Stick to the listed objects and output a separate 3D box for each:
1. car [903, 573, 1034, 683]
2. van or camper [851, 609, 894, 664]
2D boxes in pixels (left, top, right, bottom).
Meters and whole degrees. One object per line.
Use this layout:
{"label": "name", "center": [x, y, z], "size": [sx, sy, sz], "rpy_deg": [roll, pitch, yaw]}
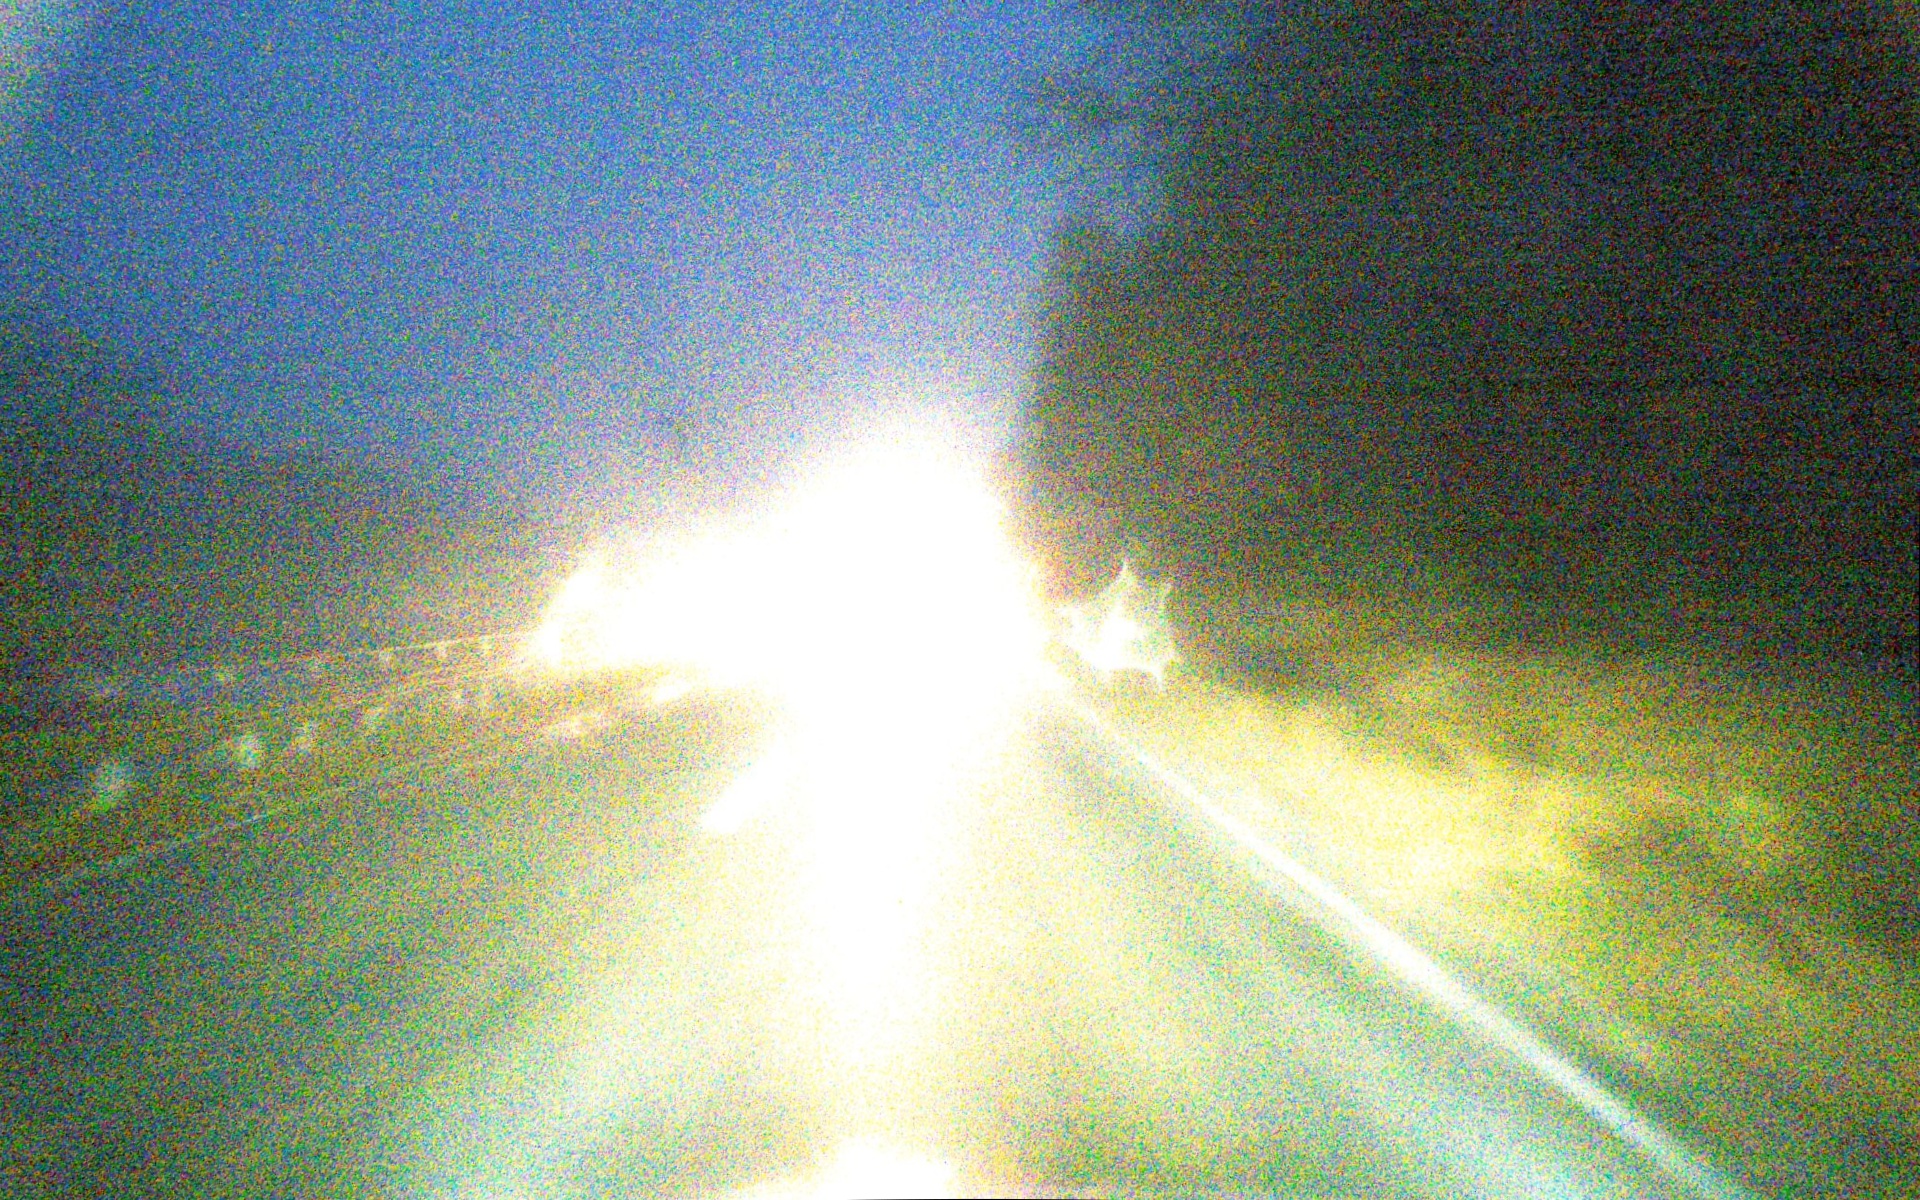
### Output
{"label": "car", "center": [0.148, 0.562, 33.048], "size": [2.407, 1.993, 4.910], "rpy_deg": [-1, -1, 0]}
{"label": "van or camper", "center": [-4.616, 1.874, 87.200], "size": [2.081, 2.610, 5.780], "rpy_deg": [-3, 0, -3]}
